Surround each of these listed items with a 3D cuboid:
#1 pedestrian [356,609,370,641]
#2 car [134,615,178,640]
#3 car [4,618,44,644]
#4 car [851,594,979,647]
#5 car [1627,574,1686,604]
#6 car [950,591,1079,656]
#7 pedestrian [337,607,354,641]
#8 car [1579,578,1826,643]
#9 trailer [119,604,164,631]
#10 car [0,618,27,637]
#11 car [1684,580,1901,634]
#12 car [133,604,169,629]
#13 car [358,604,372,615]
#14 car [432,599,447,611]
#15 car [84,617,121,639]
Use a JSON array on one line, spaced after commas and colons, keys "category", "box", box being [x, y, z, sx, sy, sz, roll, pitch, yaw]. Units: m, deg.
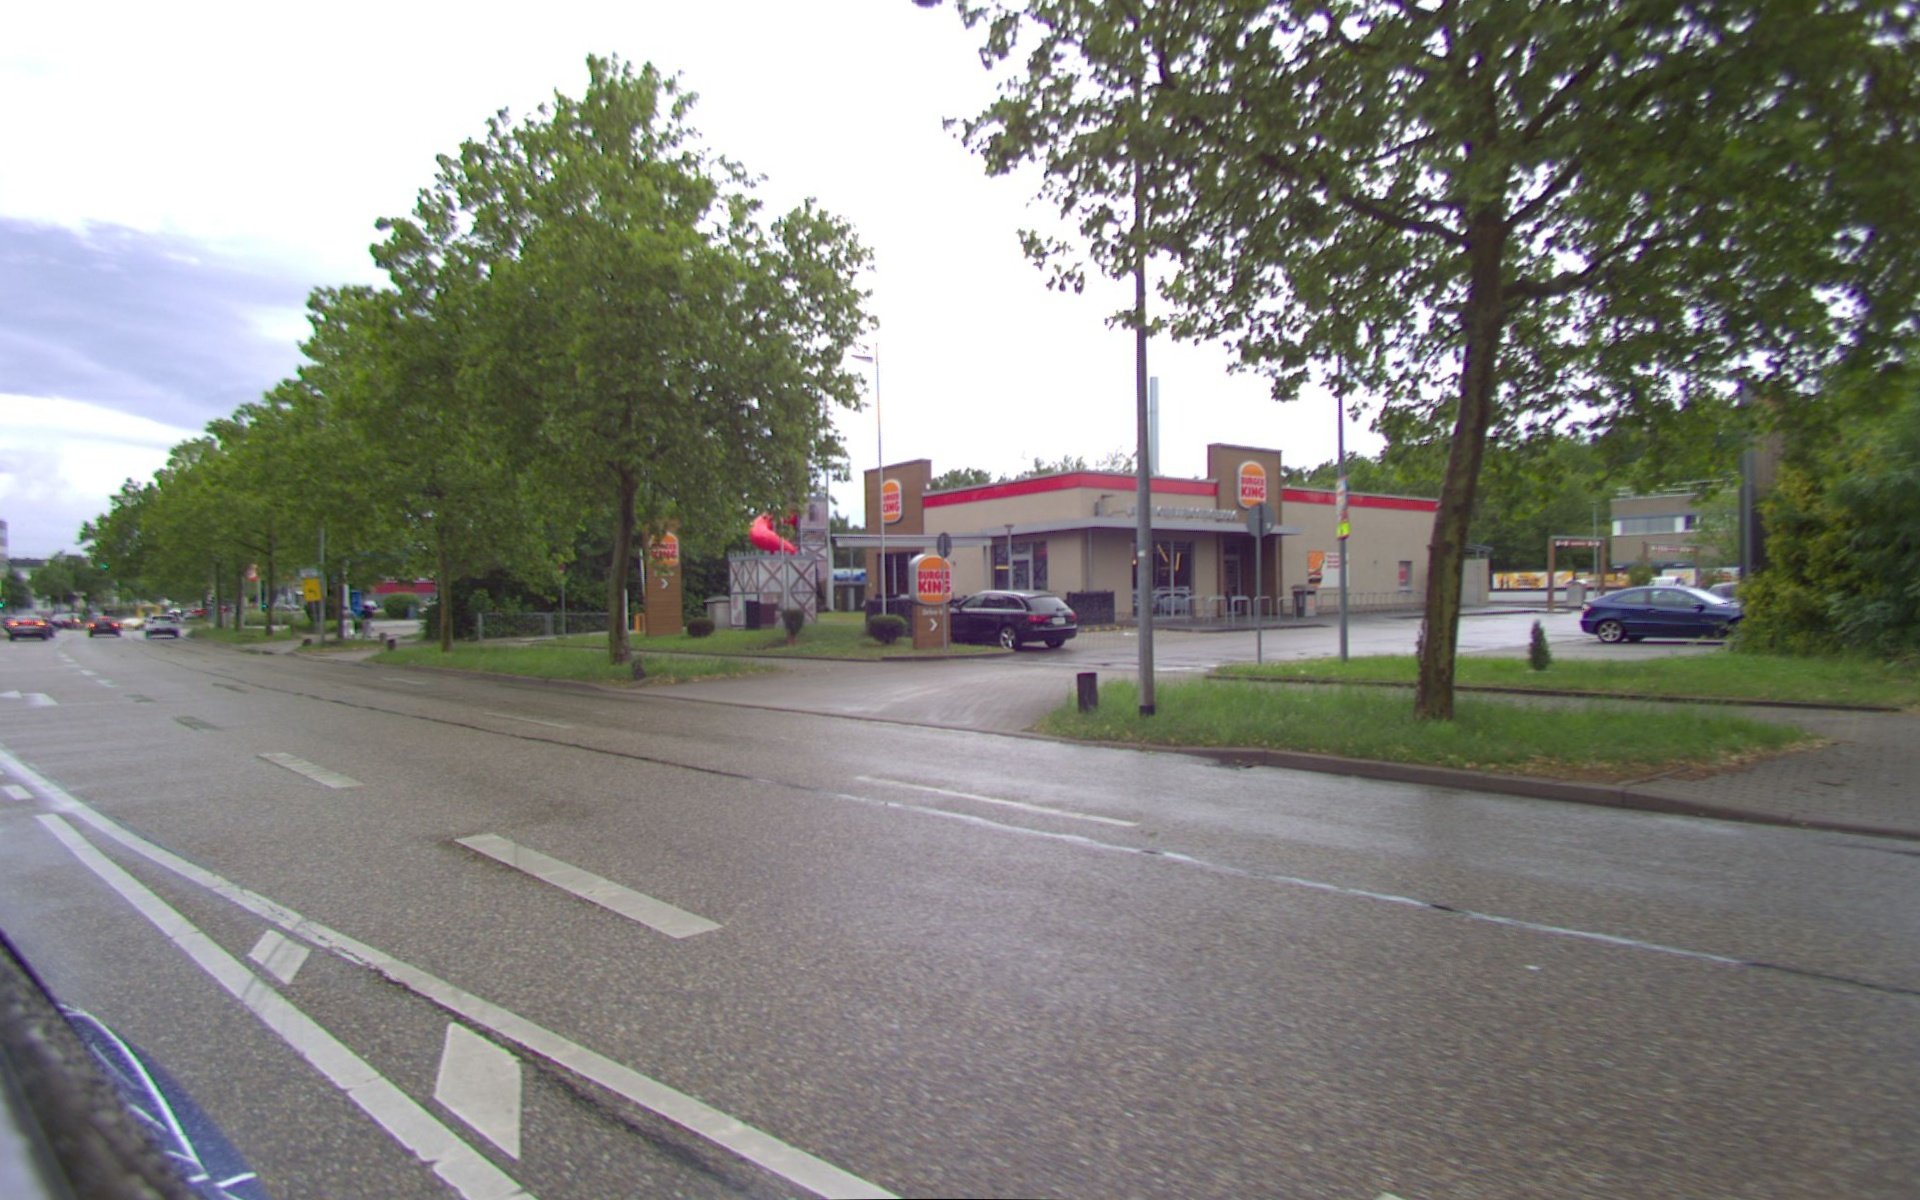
[{"category": "pedestrian", "box": [-31.989, 1.344, 54.212, 0.541, 1.695, 0.506, -2, -2, 44]}, {"category": "car", "box": [-55.514, 1.845, 69.876, 1.906, 1.631, 4.401, 1, -1, -45]}, {"category": "car", "box": [-59.469, 1.958, 64.356, 1.789, 1.574, 4.603, 0, -1, -42]}, {"category": "car", "box": [-1.142, 0.502, 26.325, 3.135, 1.164, 1.293, -4, 1, -40]}, {"category": "car", "box": [40.025, -0.613, 58.120, 3.781, 1.641, 1.719, -1, 0, -38]}, {"category": "car", "box": [1.314, 0.534, 25.288, 1.416, 1.437, 3.197, -2, 3, -40]}, {"category": "pedestrian", "box": [-32.527, 1.274, 53.564, 0.655, 1.780, 0.585, -1, 0, -24]}, {"category": "car", "box": [17.418, 0.297, 23.936, 1.840, 1.375, 4.325, 0, -2, -36]}, {"category": "trailer", "box": [-82.843, 1.789, 102.556, 2.271, 2.492, 7.995, -2, -1, -30]}, {"category": "car", "box": [-82.764, 2.356, 86.711, 1.813, 1.552, 3.948, 0, 0, 39]}, {"category": "car", "box": [22.982, 0.199, 28.101, 1.840, 1.375, 4.325, 0, -1, -36]}, {"category": "car", "box": [-85.166, 1.780, 106.574, 2.208, 2.492, 5.030, -2, -1, -30]}, {"category": "car", "box": [-91.839, 1.419, 156.275, 1.669, 1.658, 3.974, 0, -1, -33]}, {"category": "car", "box": [-78.642, 0.780, 152.872, 1.645, 1.658, 3.974, 0, -1, -33]}, {"category": "car", "box": [-62.716, 2.047, 74.014, 1.969, 1.520, 4.737, 1, -3, -41]}]
